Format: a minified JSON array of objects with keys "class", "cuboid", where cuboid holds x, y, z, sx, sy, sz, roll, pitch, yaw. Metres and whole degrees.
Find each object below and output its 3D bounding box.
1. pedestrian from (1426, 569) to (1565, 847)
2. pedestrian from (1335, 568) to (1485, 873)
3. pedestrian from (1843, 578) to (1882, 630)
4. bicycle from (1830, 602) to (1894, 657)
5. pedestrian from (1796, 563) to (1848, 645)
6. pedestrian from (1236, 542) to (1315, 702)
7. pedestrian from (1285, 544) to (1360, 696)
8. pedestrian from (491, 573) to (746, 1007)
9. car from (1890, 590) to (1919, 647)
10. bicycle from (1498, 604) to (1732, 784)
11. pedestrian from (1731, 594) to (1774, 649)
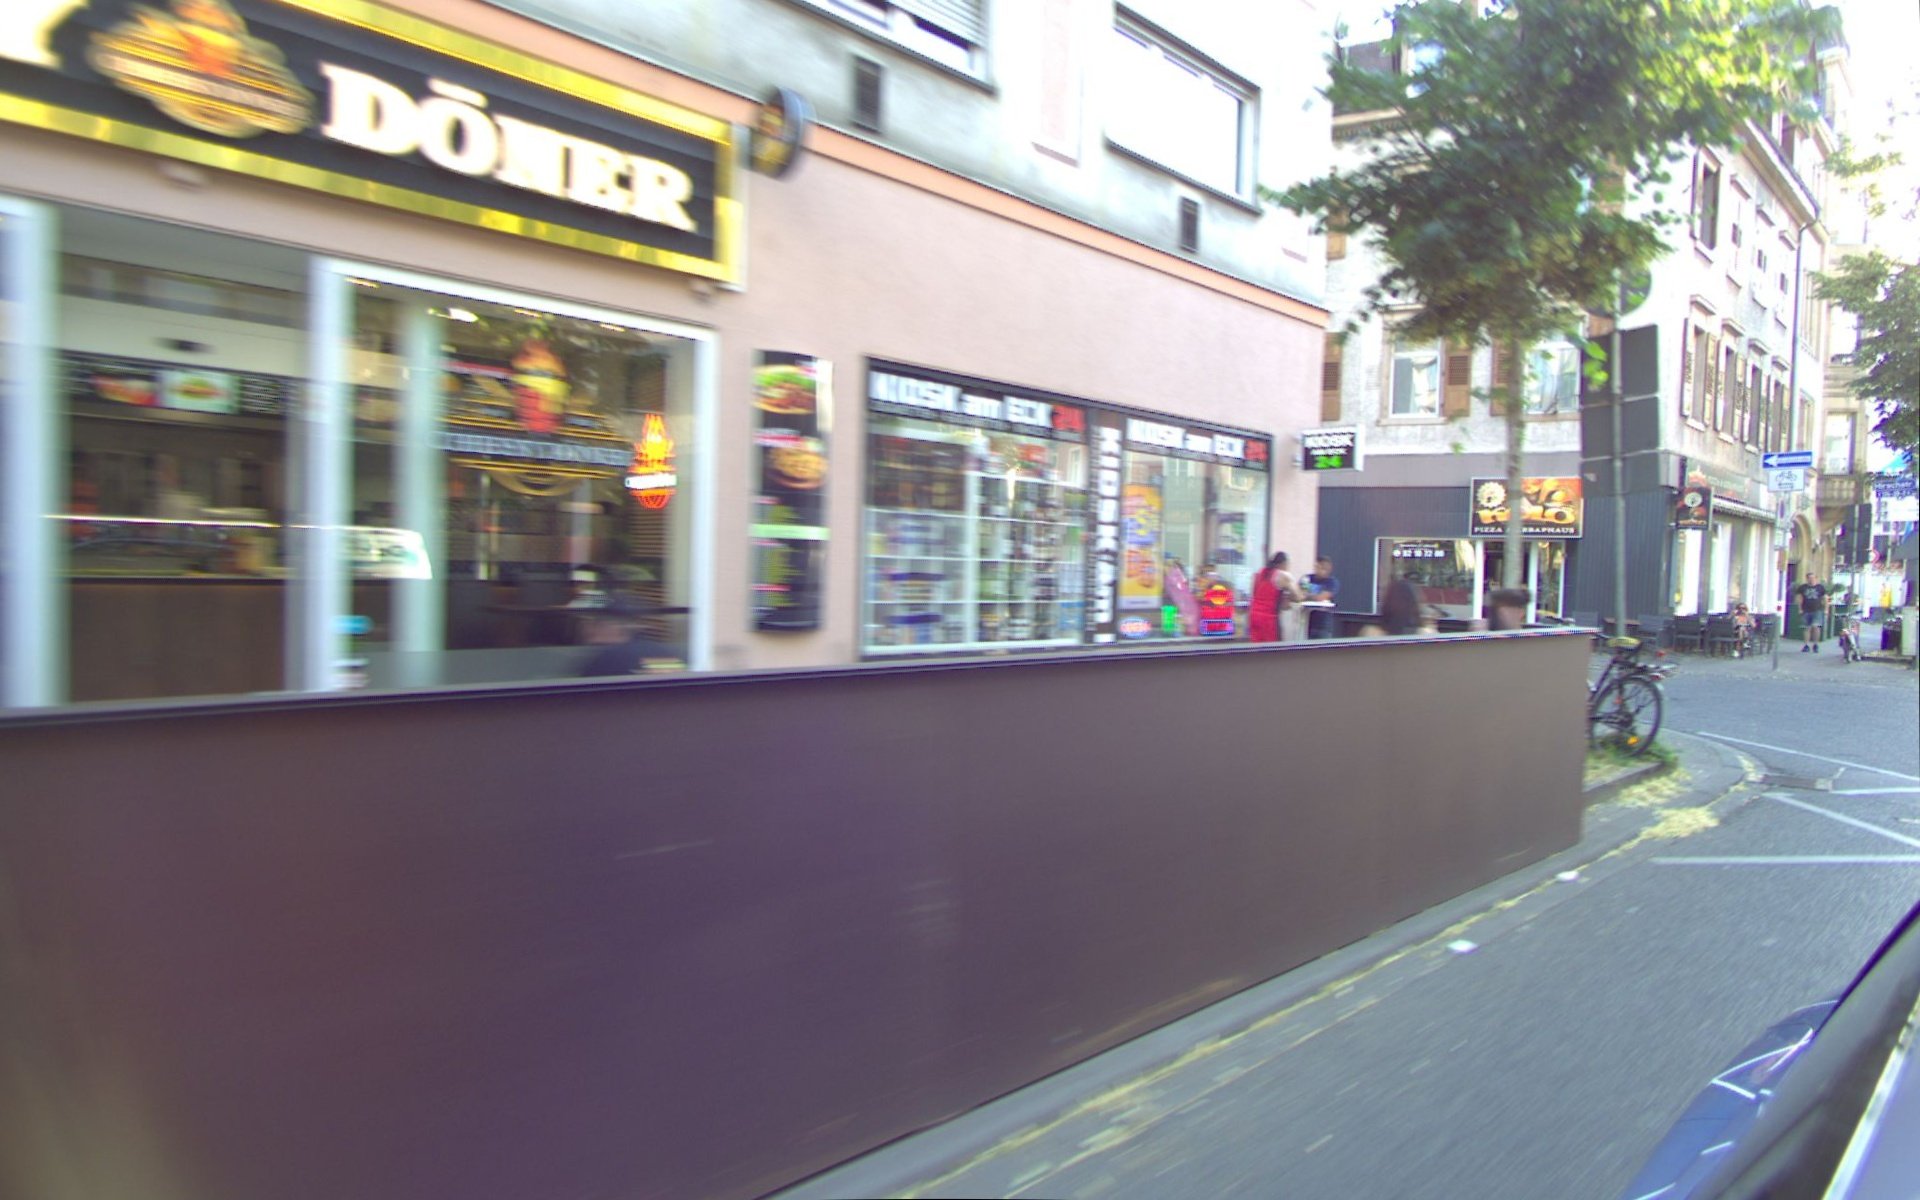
[{"class":"pedestrian","cuboid":[3.093,0.586,5.851,0.553,1.498,0.448,0,4,-39]},{"class":"pedestrian","cuboid":[2.375,0.593,5.346,0.538,1.498,0.448,0,4,-39]},{"class":"pedestrian","cuboid":[29.016,0.122,32.540,0.743,1.593,0.719,0,4,-39]},{"class":"bicycle","cuboid":[19.216,0.607,21.554,2.021,1.121,0.479,0,2,-33]},{"class":"pedestrian","cuboid":[20.835,0.090,24.454,0.743,1.898,0.719,0,4,-39]},{"class":"pedestrian","cuboid":[3.378,0.215,10.842,0.563,1.643,0.493,0,4,-39]},{"class":"pedestrian","cuboid":[4.078,0.206,11.392,0.563,1.643,0.493,0,4,-39]},{"class":"pedestrian","cuboid":[-1.230,0.588,3.608,0.636,1.322,0.687,0,4,-39]},{"class":"car","cuboid":[25.179,0.461,25.652,4.081,1.369,1.825,-1,3,-40]},{"class":"bicycle","cuboid":[5.374,0.700,8.488,0.469,1.229,2.063,1,2,-4]},{"class":"pedestrian","cuboid":[17.460,0.467,22.300,0.636,1.148,0.551,0,4,-39]}]
